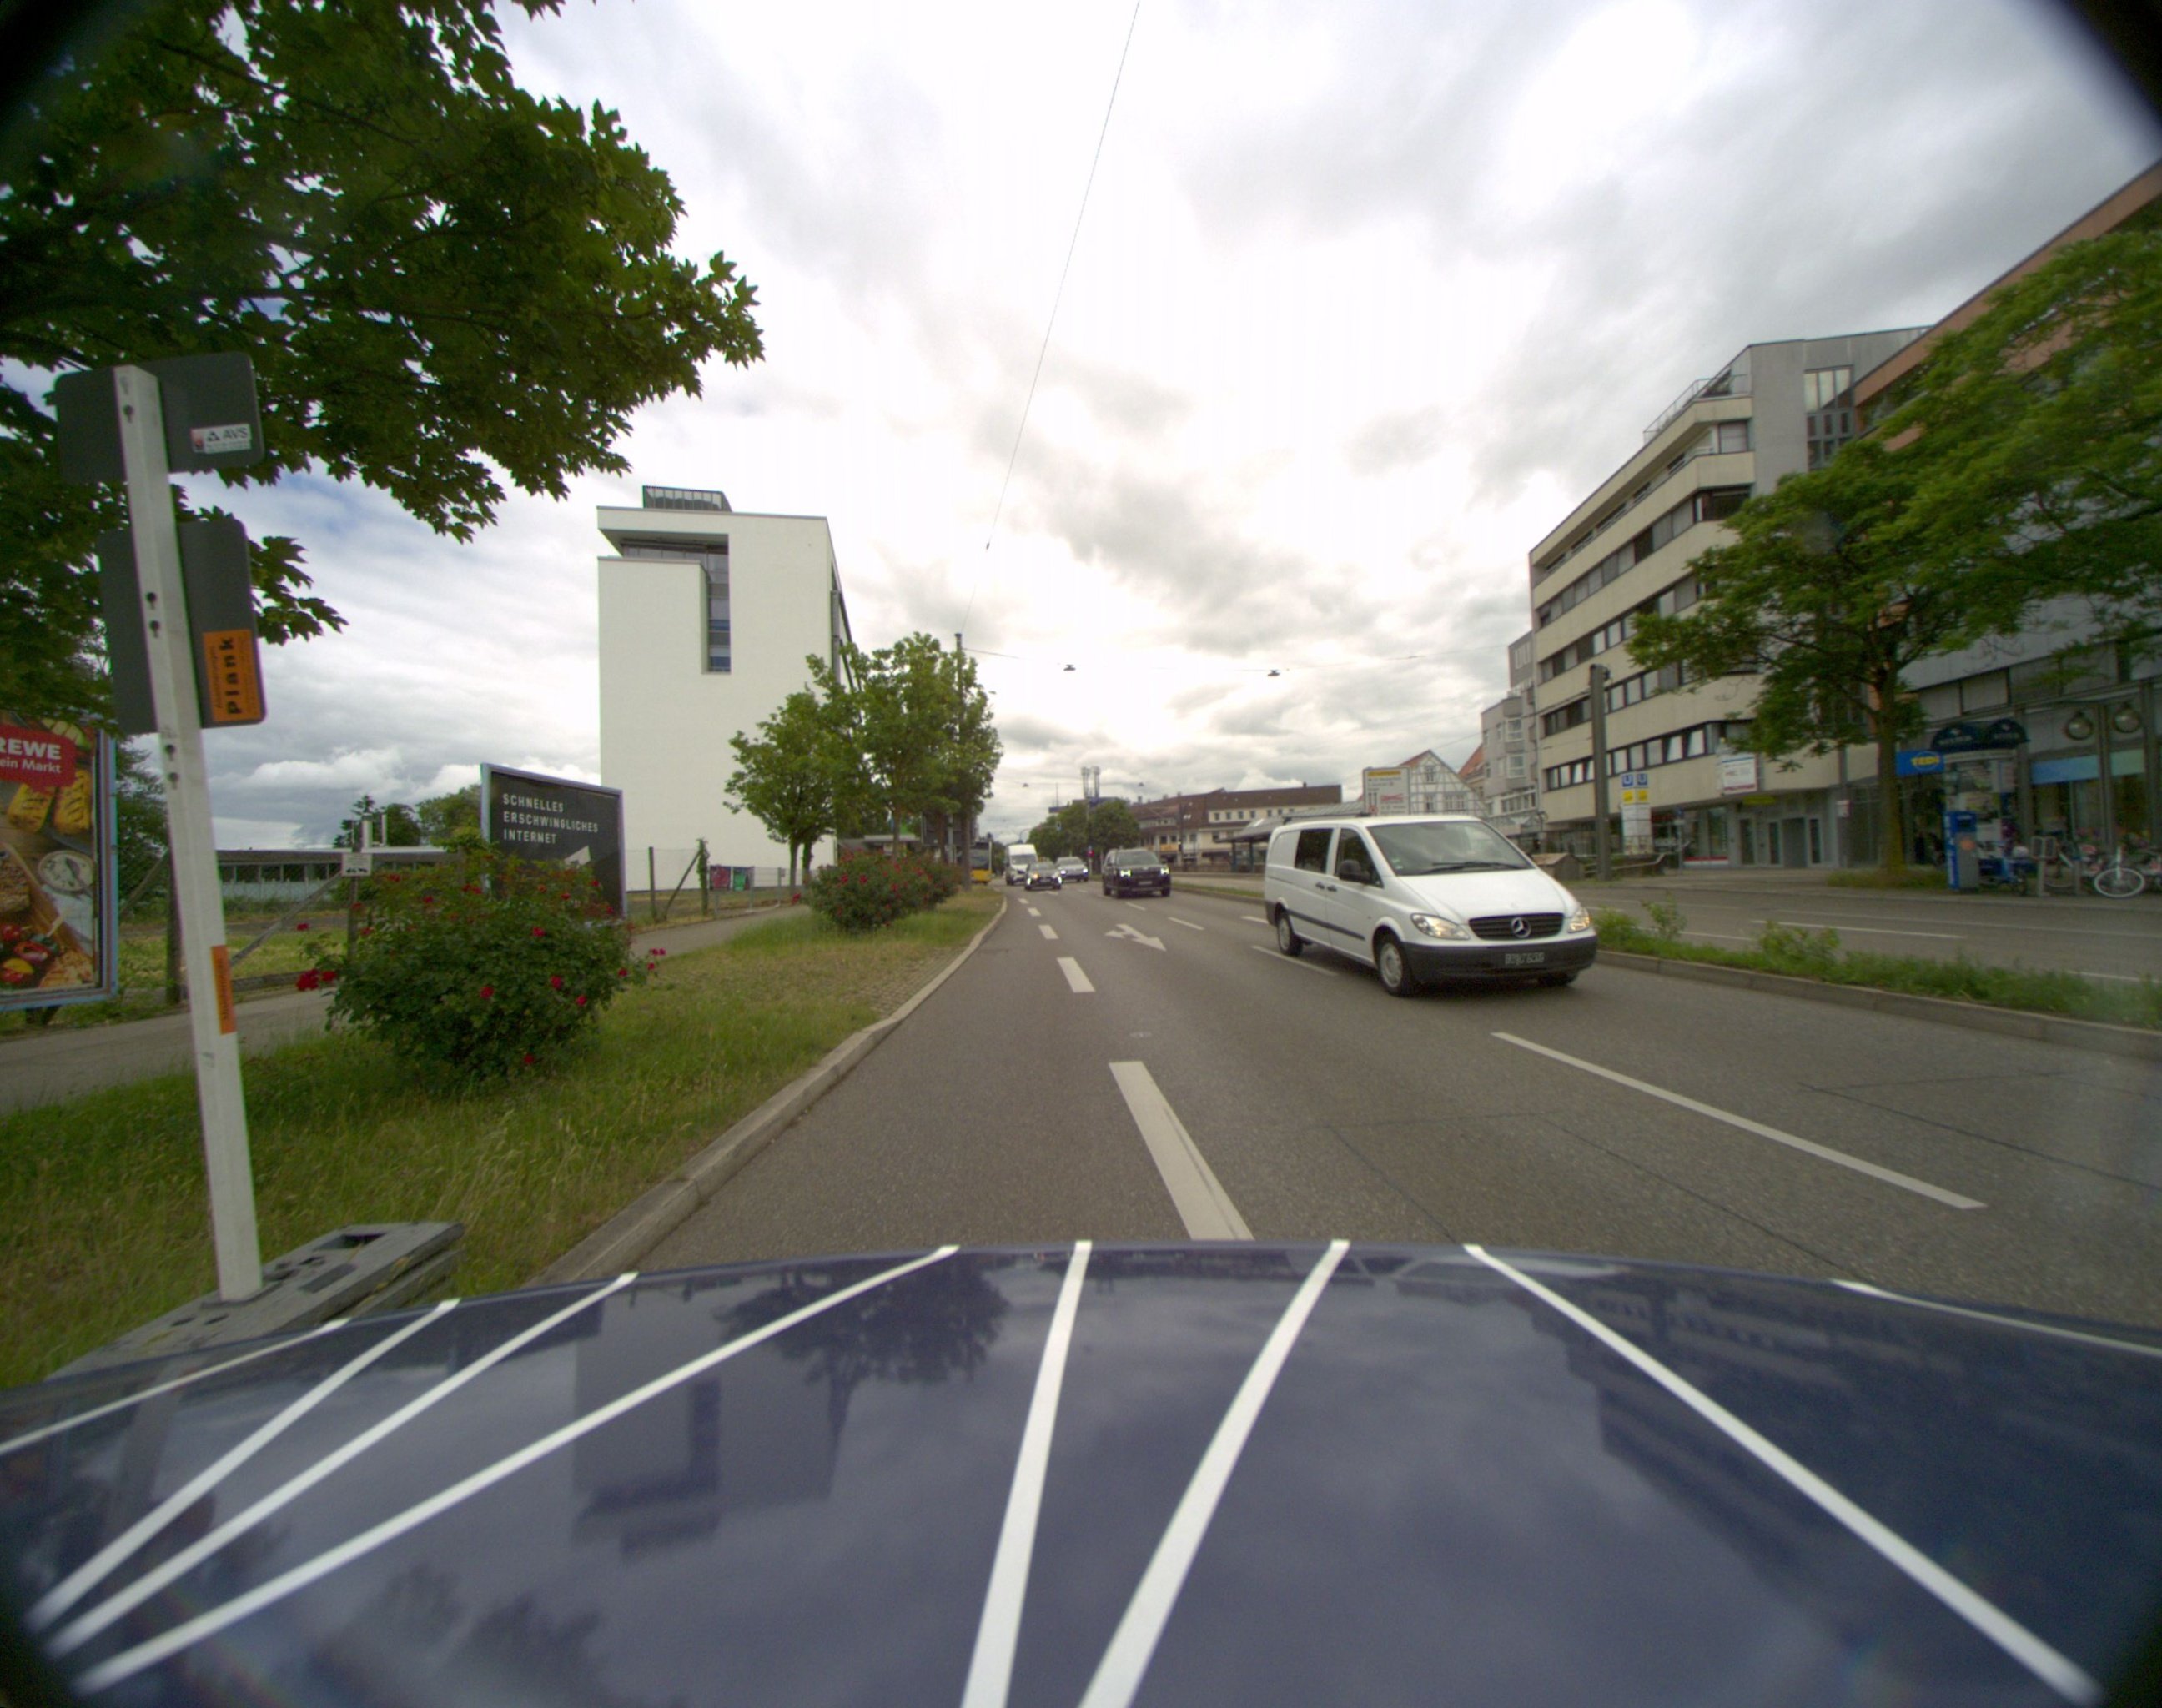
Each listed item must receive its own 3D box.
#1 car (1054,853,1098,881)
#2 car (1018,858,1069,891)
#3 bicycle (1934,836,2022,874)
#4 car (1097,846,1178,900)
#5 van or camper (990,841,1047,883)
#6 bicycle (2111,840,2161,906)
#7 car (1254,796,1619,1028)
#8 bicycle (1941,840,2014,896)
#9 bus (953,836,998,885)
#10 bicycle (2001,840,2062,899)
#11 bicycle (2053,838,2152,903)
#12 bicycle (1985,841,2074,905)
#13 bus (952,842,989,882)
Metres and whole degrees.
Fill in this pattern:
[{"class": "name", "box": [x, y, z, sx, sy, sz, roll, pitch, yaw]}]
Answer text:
[{"class": "car", "box": [-0.379, 0.820, 49.572, 2.000, 1.640, 4.389, -3, 0, -12]}, {"class": "car", "box": [-1.996, 1.033, 38.826, 1.865, 1.516, 3.996, -1, -1, -14]}, {"class": "bicycle", "box": [31.989, 0.041, 27.123, 1.970, 1.311, 0.706, -1, 1, 16]}, {"class": "car", "box": [1.974, 0.657, 28.064, 1.928, 1.741, 4.675, -2, 0, -8]}, {"class": "van or camper", "box": [-4.430, 0.610, 52.504, 2.283, 2.690, 6.985, -1, -1, -18]}, {"class": "bicycle", "box": [21.328, 0.348, 14.994, 0.625, 1.246, 1.687, -1, 0, 33]}, {"class": "car", "box": [3.803, 0.514, 9.397, 1.879, 2.002, 5.074, -3, 0, -3]}, {"class": "bicycle", "box": [20.736, 0.303, 17.604, 0.625, 1.246, 1.687, -1, 0, 33]}, {"class": "bus", "box": [-7.737, 0.544, 54.878, 2.722, 3.144, 9.120, 1, -1, -11]}, {"class": "bicycle", "box": [20.985, 0.317, 16.793, 0.431, 1.246, 1.473, -1, 0, 35]}, {"class": "bicycle", "box": [20.506, 0.309, 15.290, 0.625, 1.246, 1.687, -1, 0, 33]}, {"class": "bicycle", "box": [19.463, 0.356, 15.636, 0.625, 1.246, 1.687, -1, 0, 33]}, {"class": "bus", "box": [-9.403, 0.688, 63.736, 2.721, 3.090, 8.863, 1, -1, -10]}]
